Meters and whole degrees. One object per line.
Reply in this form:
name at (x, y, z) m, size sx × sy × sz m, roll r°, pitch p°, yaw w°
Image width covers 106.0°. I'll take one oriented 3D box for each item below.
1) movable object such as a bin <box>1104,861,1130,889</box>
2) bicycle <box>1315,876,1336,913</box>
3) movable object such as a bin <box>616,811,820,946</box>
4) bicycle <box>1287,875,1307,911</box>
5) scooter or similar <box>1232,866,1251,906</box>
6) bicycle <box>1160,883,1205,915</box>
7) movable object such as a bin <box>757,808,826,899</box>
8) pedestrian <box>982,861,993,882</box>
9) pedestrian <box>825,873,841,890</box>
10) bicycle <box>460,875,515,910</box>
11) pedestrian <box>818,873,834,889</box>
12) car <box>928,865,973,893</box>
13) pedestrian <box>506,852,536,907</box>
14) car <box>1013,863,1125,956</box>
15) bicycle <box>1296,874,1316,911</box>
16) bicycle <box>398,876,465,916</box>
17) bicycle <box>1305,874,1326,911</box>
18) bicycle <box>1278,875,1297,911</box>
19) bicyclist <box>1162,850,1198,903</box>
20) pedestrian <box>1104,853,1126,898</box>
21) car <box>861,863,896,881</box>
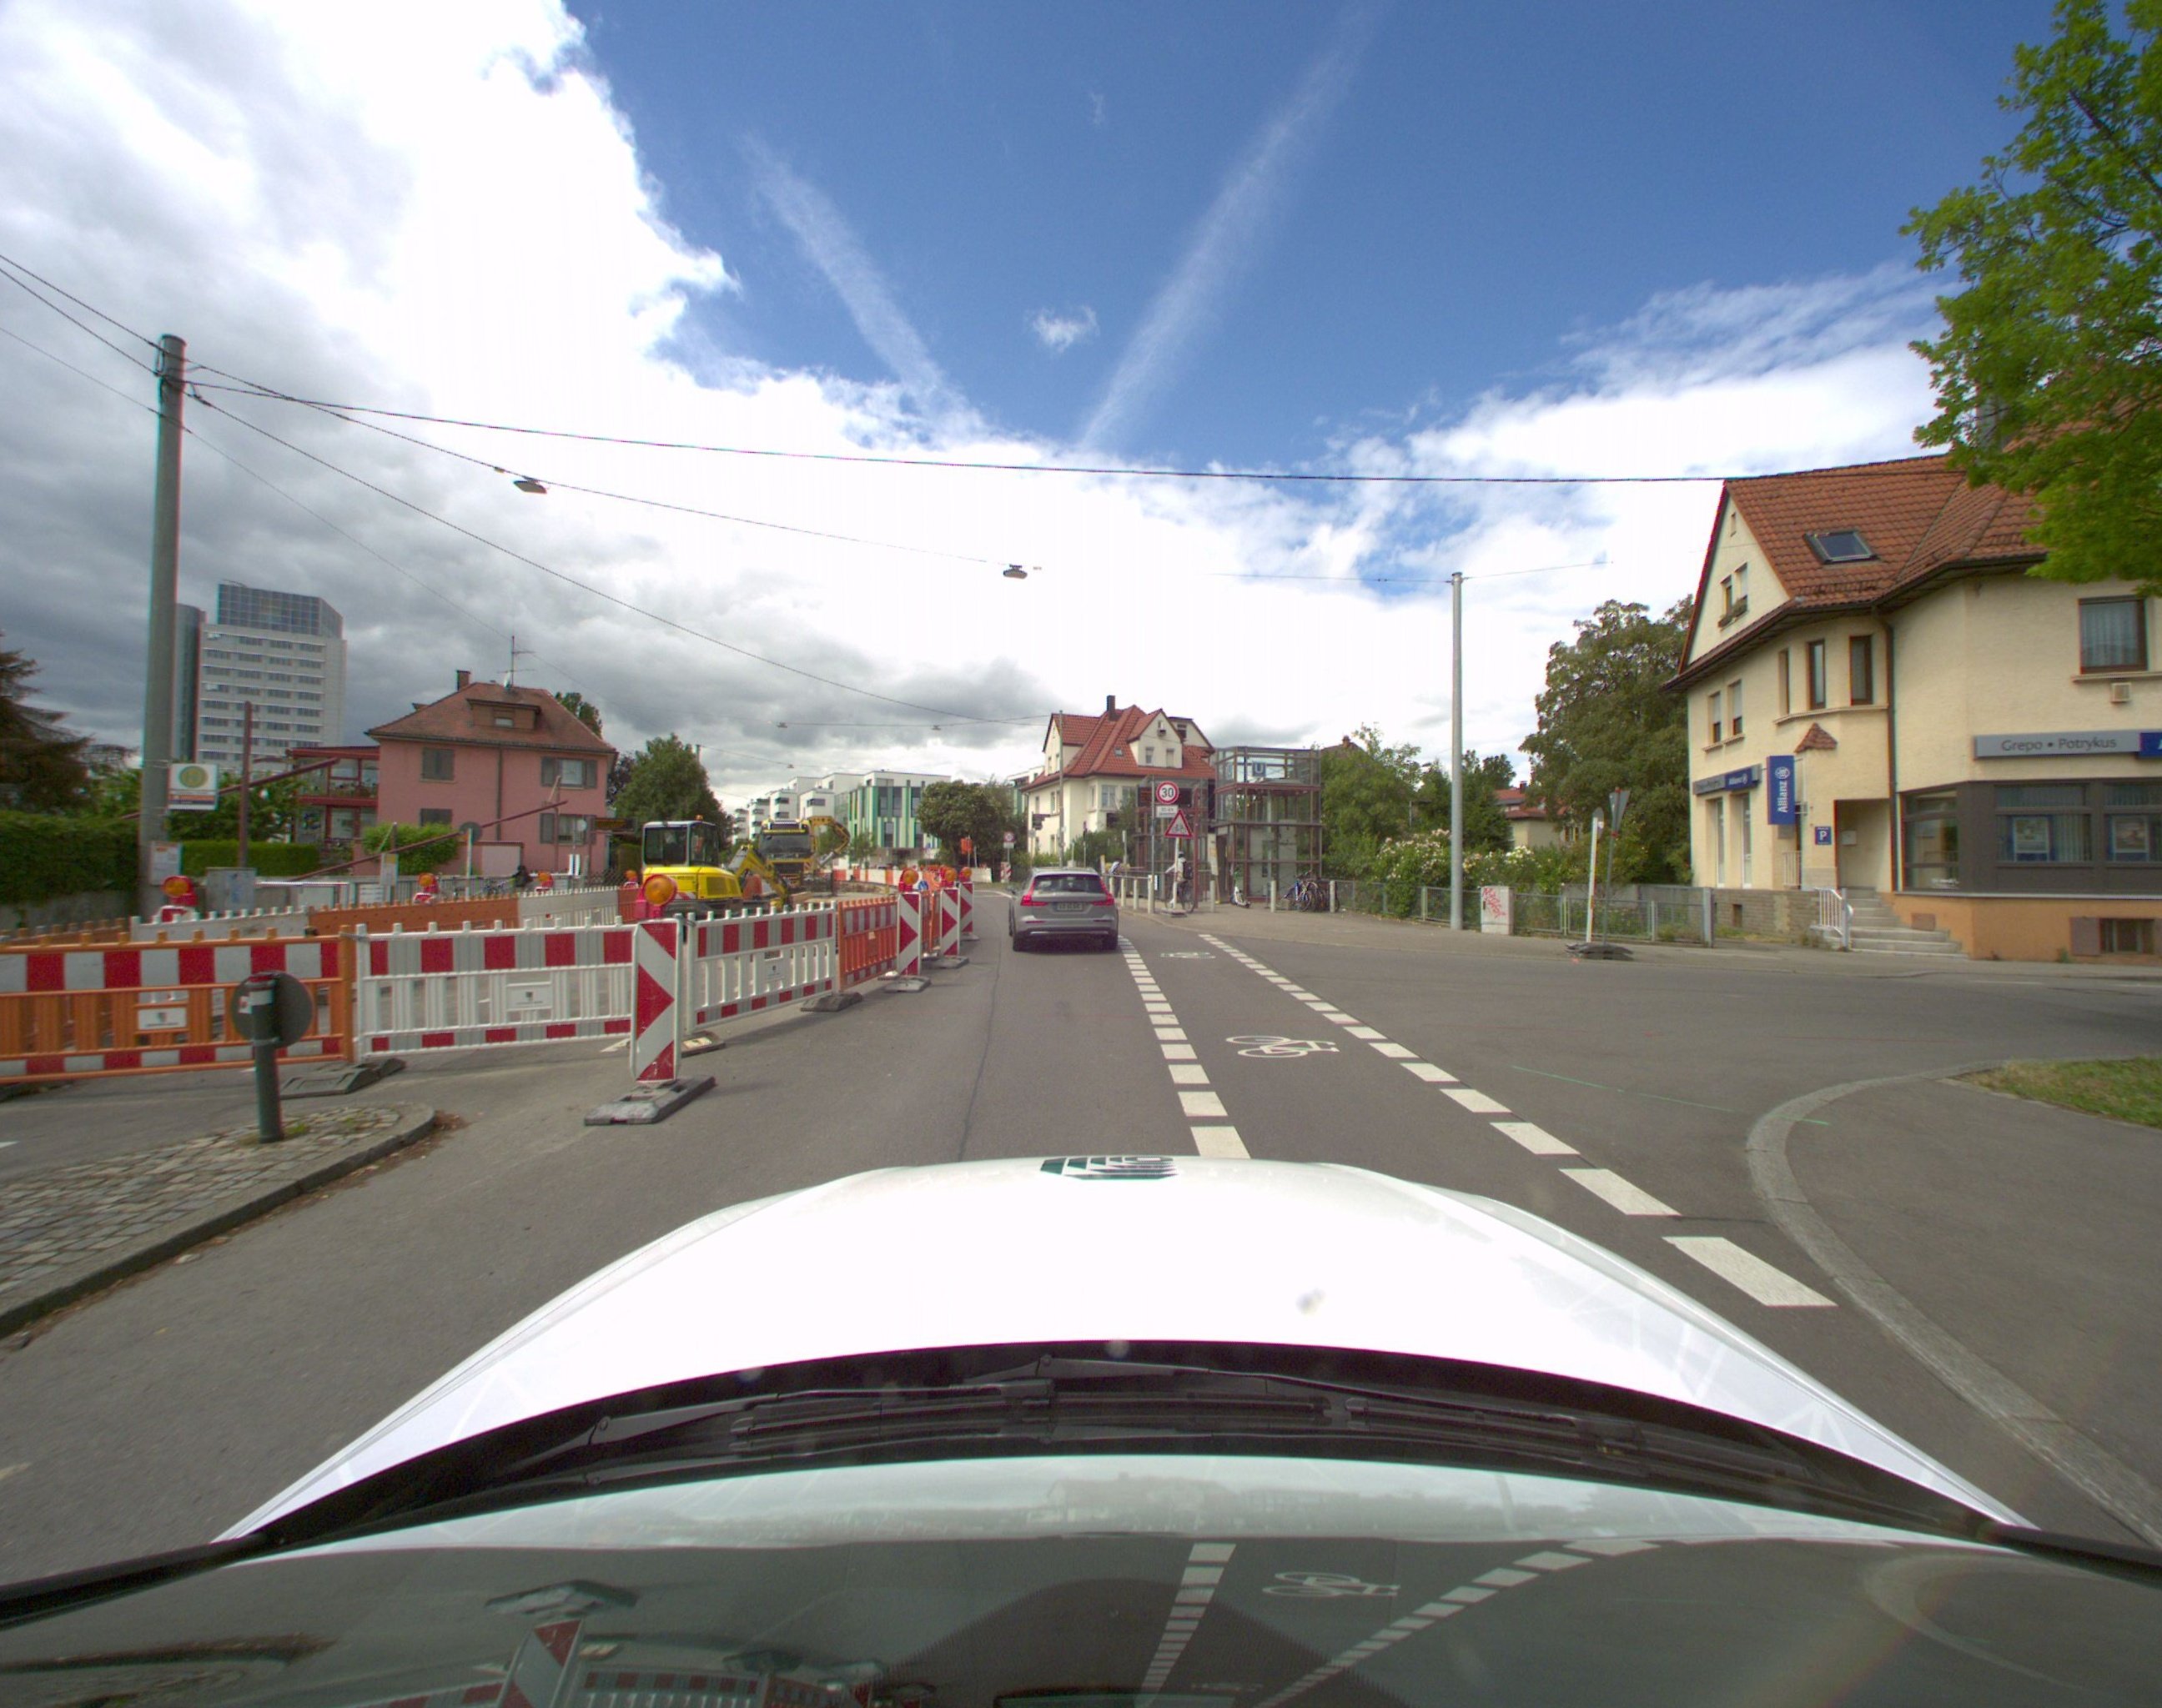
movable object such as a bin at (1.936, 1.116, 43.777) m, size 1.266 × 1.470 × 1.003 m, roll 1°, pitch -1°, yaw -5°
bicycle at (7.040, 1.147, 23.443) m, size 0.215 × 1.009 × 1.189 m, roll -1°, pitch -1°, yaw -1°
movable object such as a bin at (-8.144, 0.507, 19.207) m, size 1.988 × 2.626 × 6.518 m, roll -1°, pitch -1°, yaw -1°
bicycle at (6.214, 1.109, 23.412) m, size 0.215 × 1.001 × 1.206 m, roll -1°, pitch -1°, yaw -1°
scooter or similar at (4.796, 0.955, 24.343) m, size 0.215 × 1.111 × 0.943 m, roll -1°, pitch 2°, yaw -10°
bicycle at (2.754, 1.212, 22.255) m, size 0.636 × 0.753 × 2.054 m, roll 1°, pitch 0°, yaw -11°
movable object such as a bin at (-15.293, 0.033, 43.720) m, size 2.596 × 4.221 × 11.062 m, roll 0°, pitch -1°, yaw -15°
pedestrian at (-6.937, 1.305, 60.227) m, size 0.628 × 1.540 × 0.525 m, roll -1°, pitch -1°, yaw 24°
pedestrian at (-15.118, 1.653, 49.656) m, size 0.788 × 0.991 × 0.811 m, roll -1°, pitch -1°, yaw -2°
bicycle at (-19.374, 1.235, 26.632) m, size 0.538 × 1.082 × 2.125 m, roll -1°, pitch -1°, yaw -8°
pedestrian at (-15.763, 1.669, 50.404) m, size 0.637 × 0.991 × 0.795 m, roll -1°, pitch -1°, yaw 8°
car at (-7.696, 1.443, 47.807) m, size 1.861 × 1.513 × 3.972 m, roll 2°, pitch -2°, yaw -21°
pedestrian at (-19.598, 0.897, 28.527) m, size 0.679 × 1.886 × 0.583 m, roll -1°, pitch -1°, yaw -12°
car at (-0.323, 0.937, 15.522) m, size 1.851 × 1.513 × 3.994 m, roll -1°, pitch -1°, yaw -4°
bicycle at (6.477, 1.092, 23.447) m, size 0.215 × 1.014 × 1.168 m, roll -1°, pitch -1°, yaw -1°
bicycle at (-18.990, 1.203, 23.875) m, size 0.538 × 1.082 × 2.125 m, roll -1°, pitch -1°, yaw -8°
bicycle at (6.743, 1.102, 23.440) m, size 0.215 × 1.009 × 1.189 m, roll -1°, pitch -1°, yaw -1°
bicycle at (5.933, 1.106, 23.409) m, size 0.215 × 0.989 × 1.203 m, roll -1°, pitch -1°, yaw -1°
bicyclist at (2.694, 0.604, 22.308) m, size 0.656 × 1.416 × 1.174 m, roll 1°, pitch 0°, yaw -11°
pedestrian at (1.272, 0.803, 30.260) m, size 0.598 × 1.583 × 0.400 m, roll 6°, pitch -4°, yaw -11°
car at (-17.881, 1.612, 71.737) m, size 1.857 × 1.513 × 3.960 m, roll 2°, pitch -2°, yaw -31°
